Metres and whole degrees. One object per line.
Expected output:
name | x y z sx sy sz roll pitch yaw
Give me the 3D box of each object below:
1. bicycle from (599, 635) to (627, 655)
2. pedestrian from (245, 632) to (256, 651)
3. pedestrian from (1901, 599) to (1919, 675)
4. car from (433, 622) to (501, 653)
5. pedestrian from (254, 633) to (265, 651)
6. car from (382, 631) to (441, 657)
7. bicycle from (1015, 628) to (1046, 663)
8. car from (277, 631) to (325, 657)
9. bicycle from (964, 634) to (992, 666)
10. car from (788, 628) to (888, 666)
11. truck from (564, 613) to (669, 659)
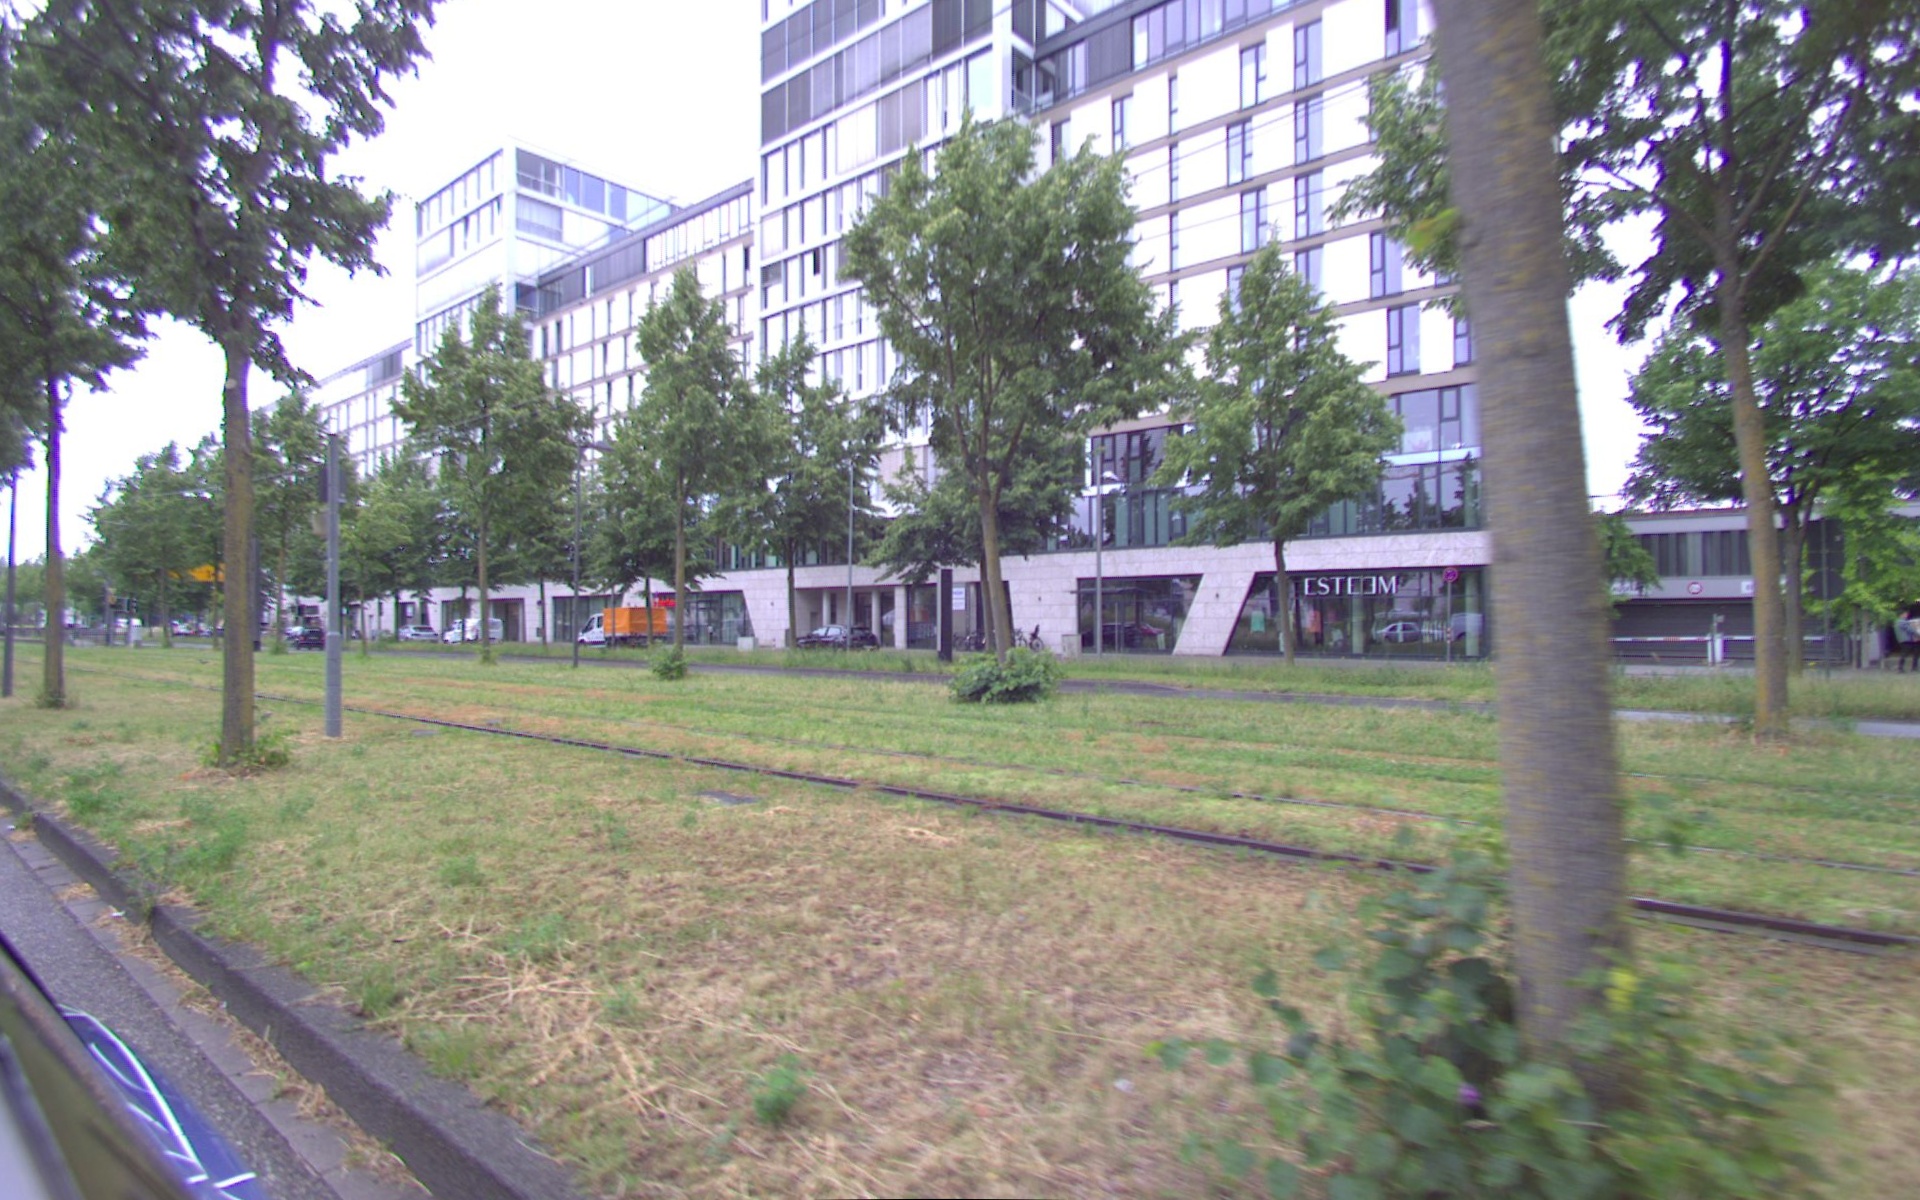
bicycle | -16.875 2.201 49.225 1.758 0.952 0.592 -2 -2 44
pedestrian | -66.122 3.870 94.251 0.793 1.704 0.703 -2 -2 43
pedestrian | 25.491 0.964 26.709 0.784 1.996 0.857 0 -2 -41
car | -31.211 2.337 64.055 5.160 1.866 1.973 -2 -2 40
pedestrian | -65.745 3.919 94.947 0.793 1.704 0.703 -2 -2 43
car | -37.688 3.004 69.518 4.460 1.725 2.123 -2 -2 40
bicycle | 3.241 2.083 46.436 0.606 1.550 1.552 -2 -1 39
car | -44.293 2.928 68.042 3.701 1.669 1.971 -2 -2 45
bicycle | 0.852 2.380 48.284 0.546 1.494 1.418 -2 -1 39
car | -5.002 1.892 41.213 3.985 1.476 1.836 -2 -2 40
truck | -18.198 1.873 53.453 6.305 2.309 2.401 -2 -2 41
